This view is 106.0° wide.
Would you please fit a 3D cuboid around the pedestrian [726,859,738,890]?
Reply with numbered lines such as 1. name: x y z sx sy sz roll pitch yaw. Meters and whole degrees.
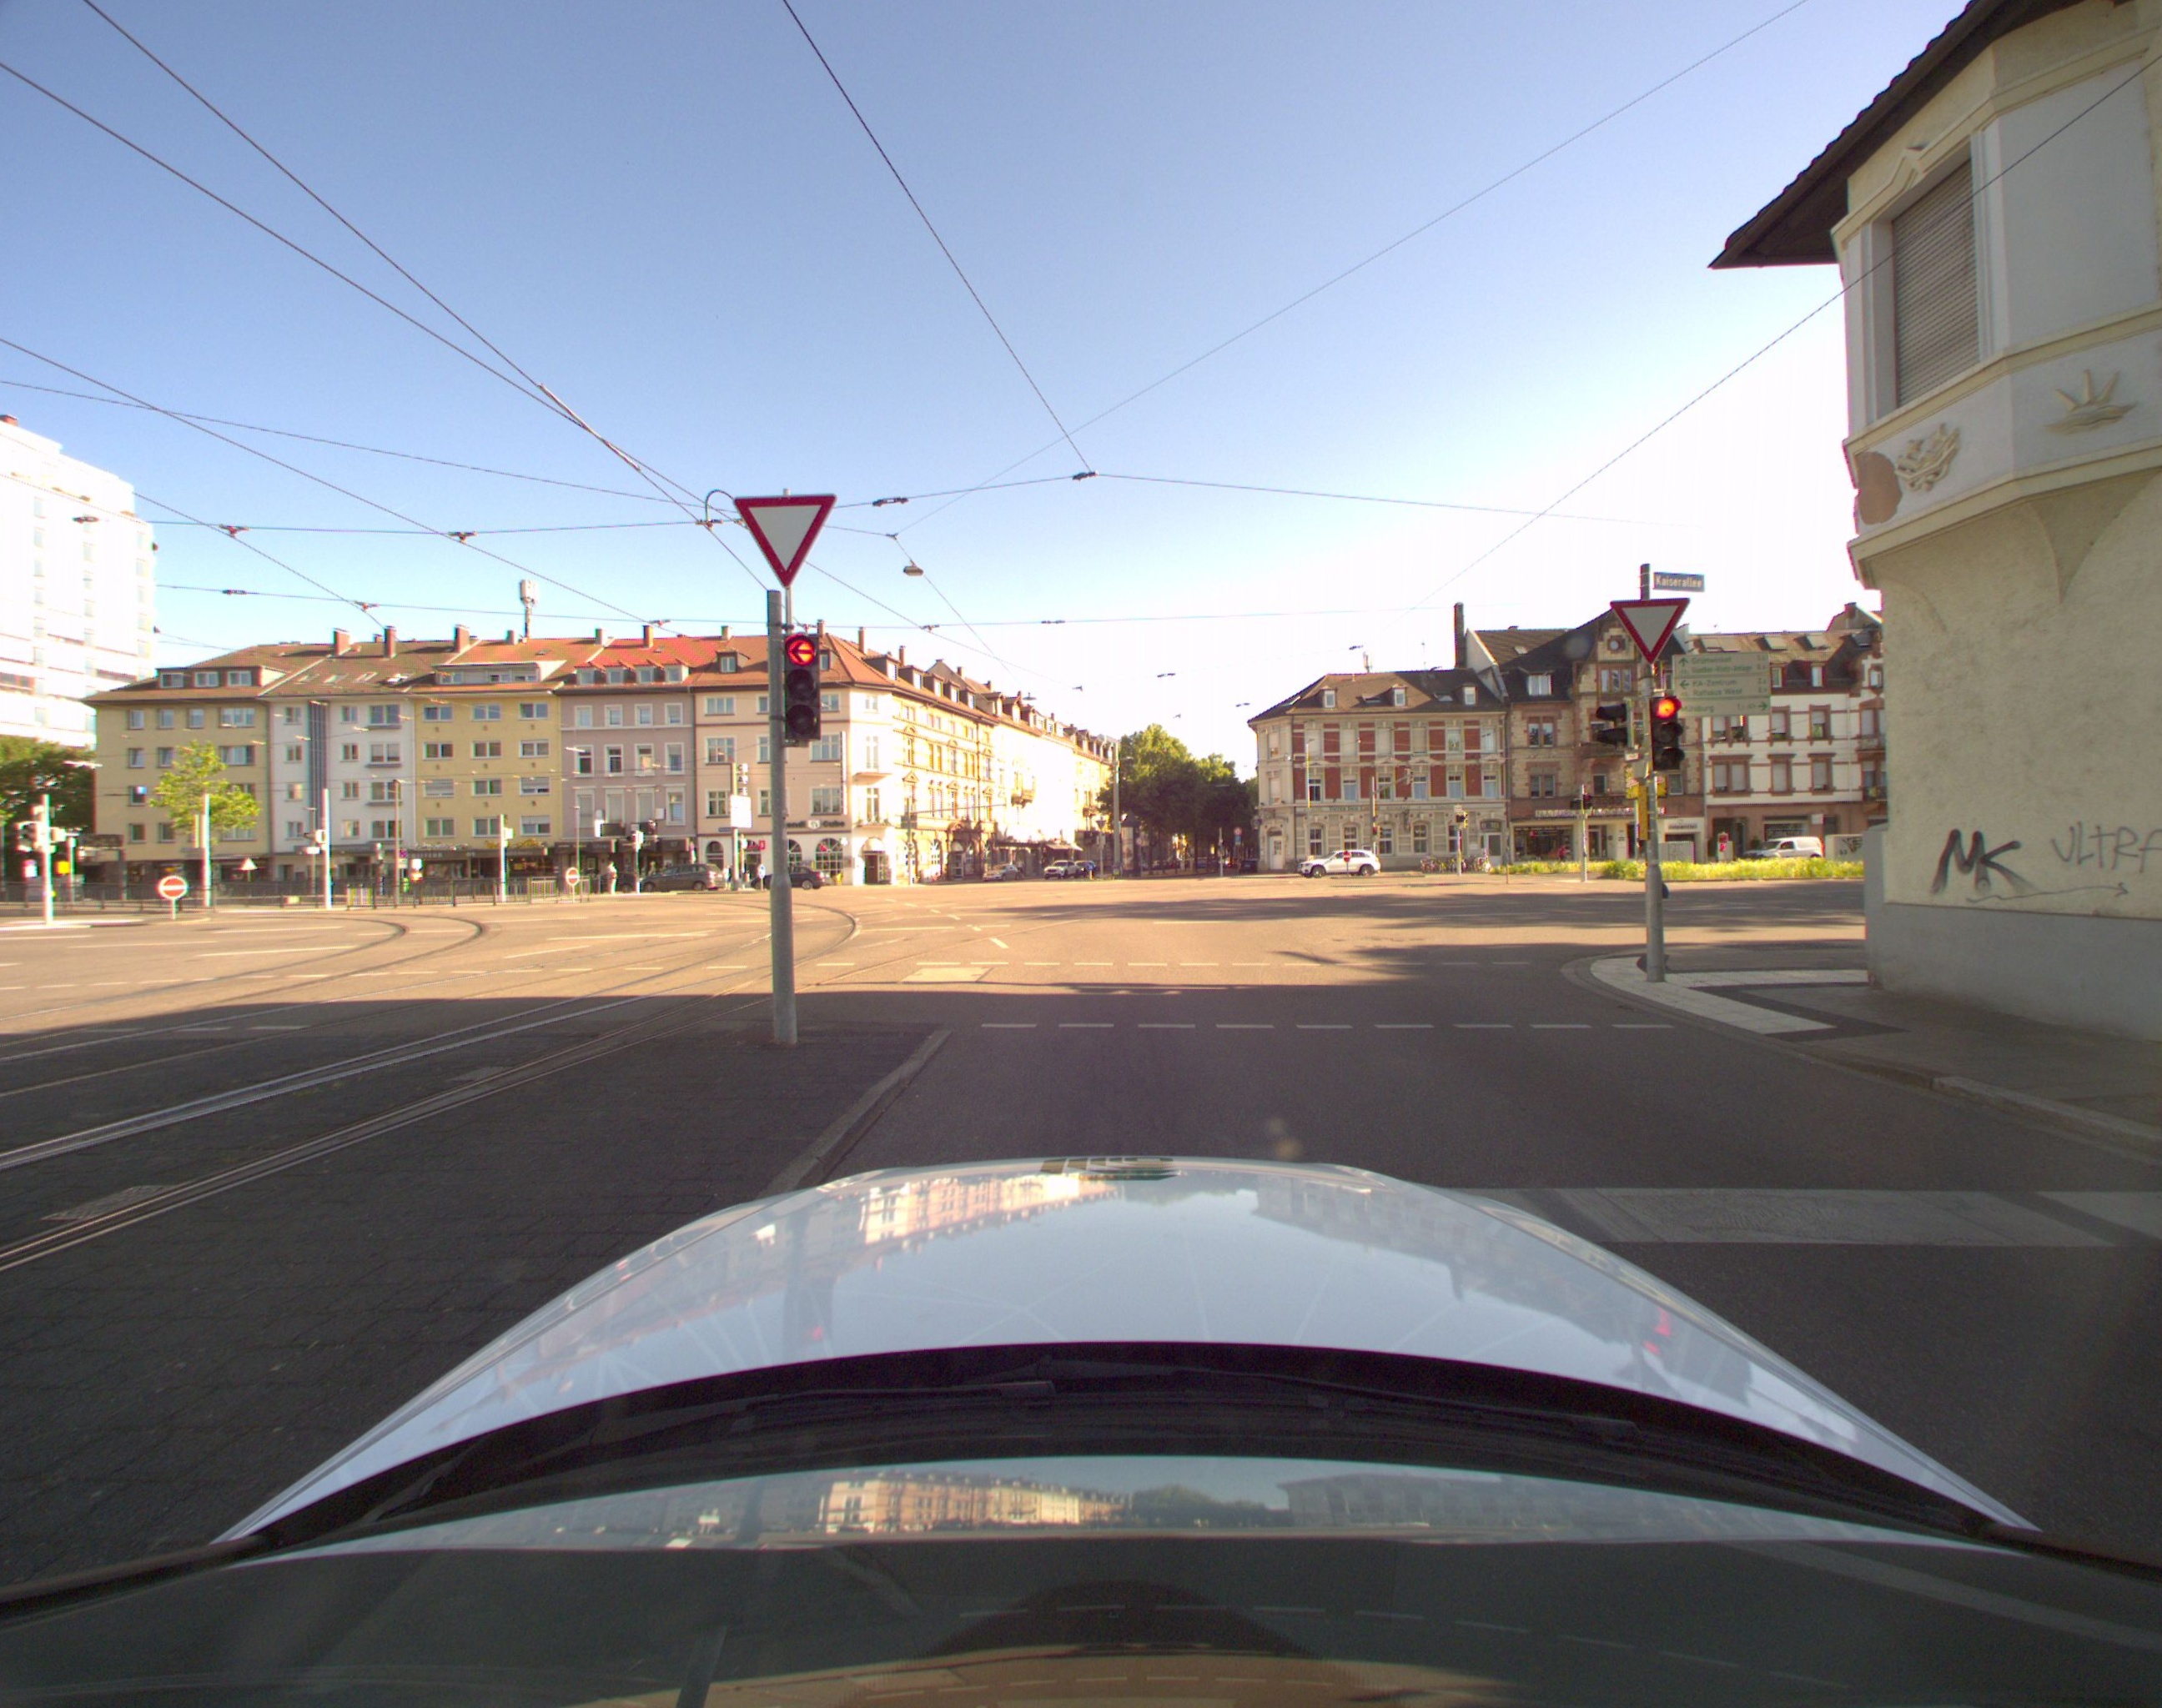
1. pedestrian: -22.777 1.356 53.123 0.506 2.013 0.505 -1 0 5

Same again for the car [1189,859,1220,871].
1. car: 17.488 1.527 114.993 4.078 1.646 1.754 1 0 17

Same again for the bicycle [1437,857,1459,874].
1. bicycle: 23.814 0.731 52.870 0.603 1.051 1.641 -1 0 -3

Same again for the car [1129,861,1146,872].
1. car: 7.605 1.651 110.003 1.729 1.397 4.137 1 0 12

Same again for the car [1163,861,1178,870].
1. car: 14.443 1.812 131.457 1.728 1.397 4.141 1 0 16

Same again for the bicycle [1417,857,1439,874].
1. bicycle: 22.497 0.740 52.839 0.603 1.051 1.641 -1 0 -3

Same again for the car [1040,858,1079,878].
1. car: -1.729 1.163 67.370 2.080 1.499 4.017 -1 0 16

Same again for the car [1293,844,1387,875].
1. car: 15.068 0.304 47.471 4.838 1.660 1.997 -1 0 -4

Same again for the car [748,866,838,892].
1. car: -16.839 1.448 47.773 4.496 1.341 2.000 -1 0 0

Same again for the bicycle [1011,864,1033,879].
1. bicycle: -4.768 1.430 65.900 0.745 1.135 2.821 -1 0 16

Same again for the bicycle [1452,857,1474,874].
1. bicycle: 24.641 0.723 52.570 0.603 1.051 1.641 -1 0 -3

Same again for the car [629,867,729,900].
1. car: -22.347 1.641 45.389 4.494 1.672 2.000 -1 0 1

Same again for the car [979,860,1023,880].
1. car: -6.597 1.303 67.700 2.080 1.545 4.382 -1 0 16

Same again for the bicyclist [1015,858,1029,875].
1. bicyclist: -4.765 0.986 65.871 0.787 1.375 1.113 -1 0 16

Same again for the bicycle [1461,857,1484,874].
1. bicycle: 25.316 0.718 52.619 0.603 1.051 1.641 -1 0 -3

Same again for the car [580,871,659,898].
1. car: -30.273 1.990 53.533 3.978 1.464 1.998 -2 0 -4

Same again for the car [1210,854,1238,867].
1. car: 23.375 1.088 133.072 4.074 1.919 1.756 1 0 23

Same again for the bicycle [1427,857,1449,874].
1. bicycle: 23.150 0.736 52.870 0.603 1.051 1.641 -1 0 -3

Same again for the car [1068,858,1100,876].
1. car: 0.292 1.151 73.693 1.979 1.513 4.015 -1 0 14

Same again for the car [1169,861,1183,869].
1. car: 15.867 1.836 136.204 1.728 1.397 4.141 1 0 16

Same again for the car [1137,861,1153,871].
1. car: 9.179 1.687 115.773 1.729 1.397 4.137 1 0 12

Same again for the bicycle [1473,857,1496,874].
1. bicycle: 26.054 0.713 52.612 0.603 1.051 1.641 -1 0 -3

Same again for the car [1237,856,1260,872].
1. car: 16.907 0.992 82.052 1.637 1.524 3.772 -2 -1 20

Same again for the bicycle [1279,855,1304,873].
1. bicycle: 14.697 0.691 56.940 1.625 1.222 0.609 -1 0 18

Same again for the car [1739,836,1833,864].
1. car: 45.386 -0.230 52.472 4.356 1.654 1.999 -1 0 -2

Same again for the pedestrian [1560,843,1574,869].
1. pedestrian: 33.137 0.151 55.516 0.705 1.751 0.421 -1 0 3

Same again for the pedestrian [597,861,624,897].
1. pedestrian: -24.569 1.309 42.557 0.871 1.818 0.811 -1 0 2

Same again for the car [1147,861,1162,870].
1. car: 11.066 1.729 122.709 1.729 1.397 4.137 1 0 12
